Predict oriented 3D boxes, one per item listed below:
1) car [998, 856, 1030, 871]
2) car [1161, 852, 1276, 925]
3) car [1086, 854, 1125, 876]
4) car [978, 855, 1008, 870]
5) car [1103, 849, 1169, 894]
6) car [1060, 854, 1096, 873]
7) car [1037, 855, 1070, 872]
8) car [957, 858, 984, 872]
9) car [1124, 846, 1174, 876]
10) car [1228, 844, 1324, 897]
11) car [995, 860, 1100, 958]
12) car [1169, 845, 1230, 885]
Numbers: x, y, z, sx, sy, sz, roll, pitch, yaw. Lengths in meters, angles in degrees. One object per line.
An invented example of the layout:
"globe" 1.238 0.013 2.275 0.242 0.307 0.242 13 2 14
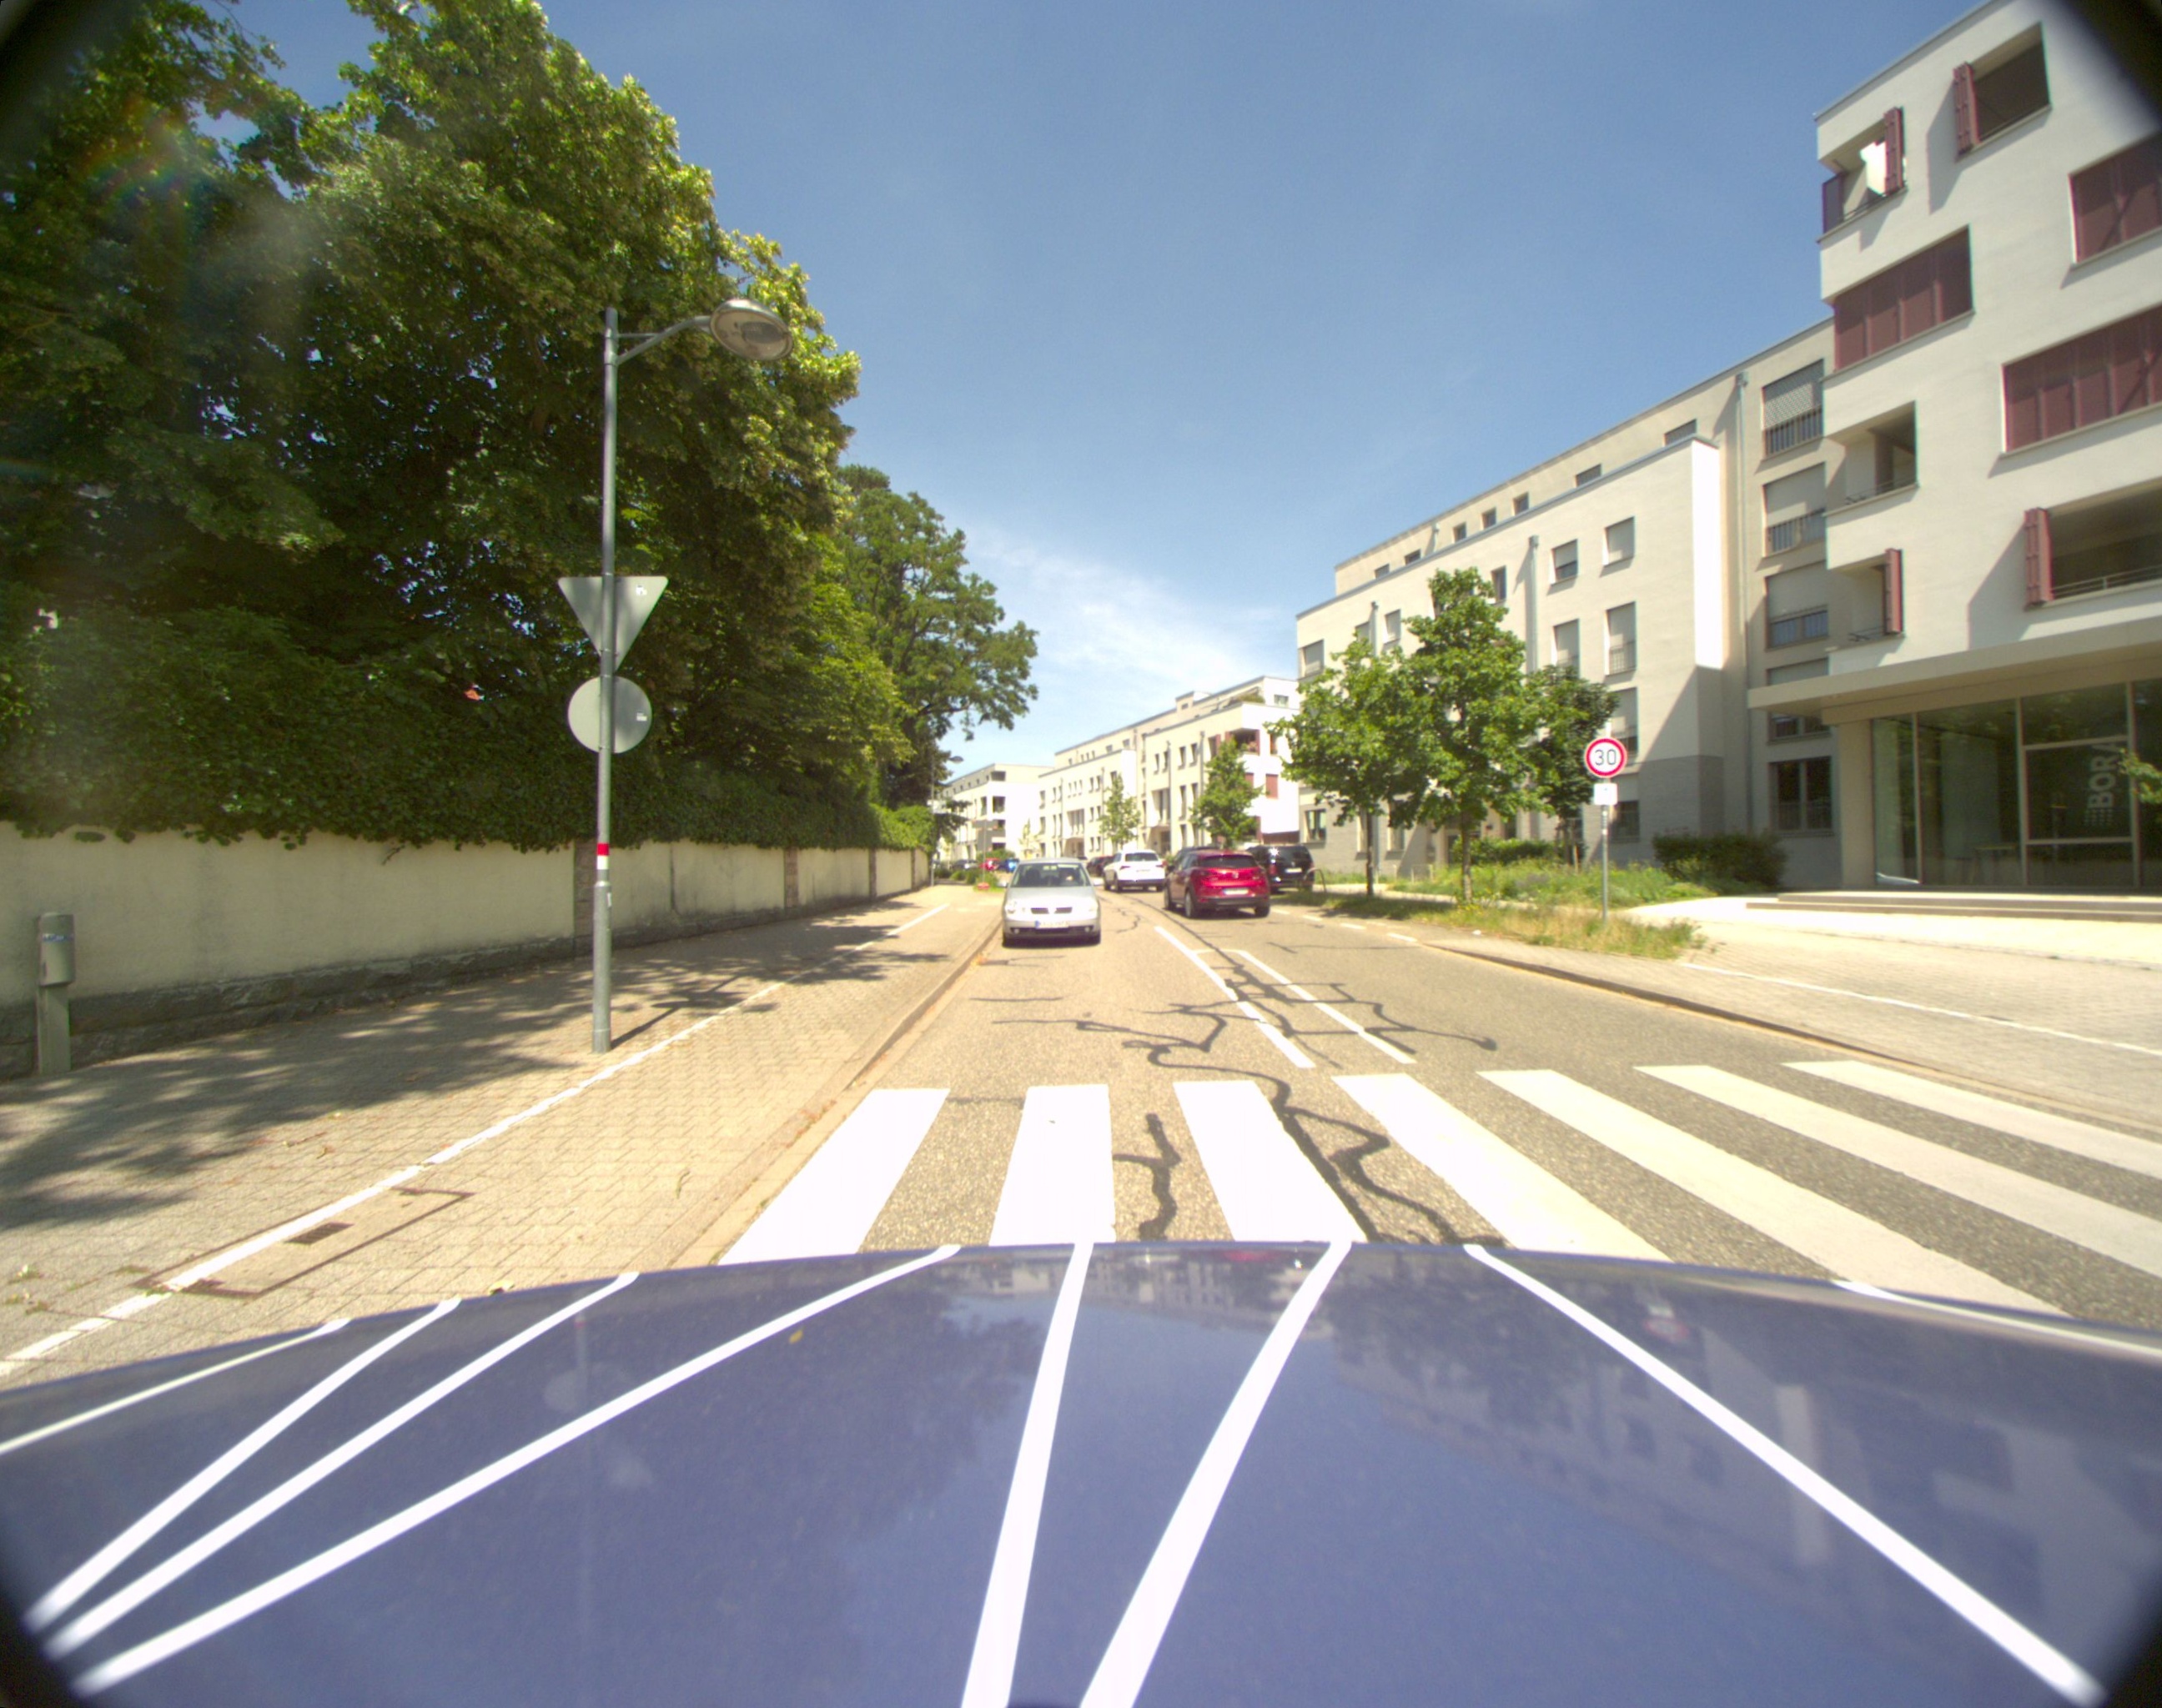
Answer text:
"car" -6.505 0.880 73.135 1.710 1.405 3.713 -2 1 -29
"car" 3.087 0.722 17.888 1.756 1.496 3.991 -1 0 -3
"car" 1.657 0.708 52.005 1.708 1.405 3.622 -1 0 -15
"car" -9.101 0.879 78.129 1.710 1.405 3.713 -2 1 -29
"car" 2.089 0.642 29.868 1.816 1.599 4.117 -1 0 -7
"car" -0.253 0.699 57.977 1.708 1.405 3.715 -1 1 -17
"car" -2.378 0.793 64.269 1.709 1.405 3.715 -1 1 -20
"car" -12.231 1.196 83.832 1.710 1.405 3.713 -2 1 -29
"car" 3.850 0.372 43.715 1.792 1.580 3.623 -1 1 -13
"car" 6.461 0.498 25.653 1.699 1.628 4.017 -1 0 -8
"car" -0.538 0.870 13.901 1.607 1.443 3.999 -1 0 -1
"car" 5.269 0.456 34.234 1.699 1.690 3.624 -1 1 -8
